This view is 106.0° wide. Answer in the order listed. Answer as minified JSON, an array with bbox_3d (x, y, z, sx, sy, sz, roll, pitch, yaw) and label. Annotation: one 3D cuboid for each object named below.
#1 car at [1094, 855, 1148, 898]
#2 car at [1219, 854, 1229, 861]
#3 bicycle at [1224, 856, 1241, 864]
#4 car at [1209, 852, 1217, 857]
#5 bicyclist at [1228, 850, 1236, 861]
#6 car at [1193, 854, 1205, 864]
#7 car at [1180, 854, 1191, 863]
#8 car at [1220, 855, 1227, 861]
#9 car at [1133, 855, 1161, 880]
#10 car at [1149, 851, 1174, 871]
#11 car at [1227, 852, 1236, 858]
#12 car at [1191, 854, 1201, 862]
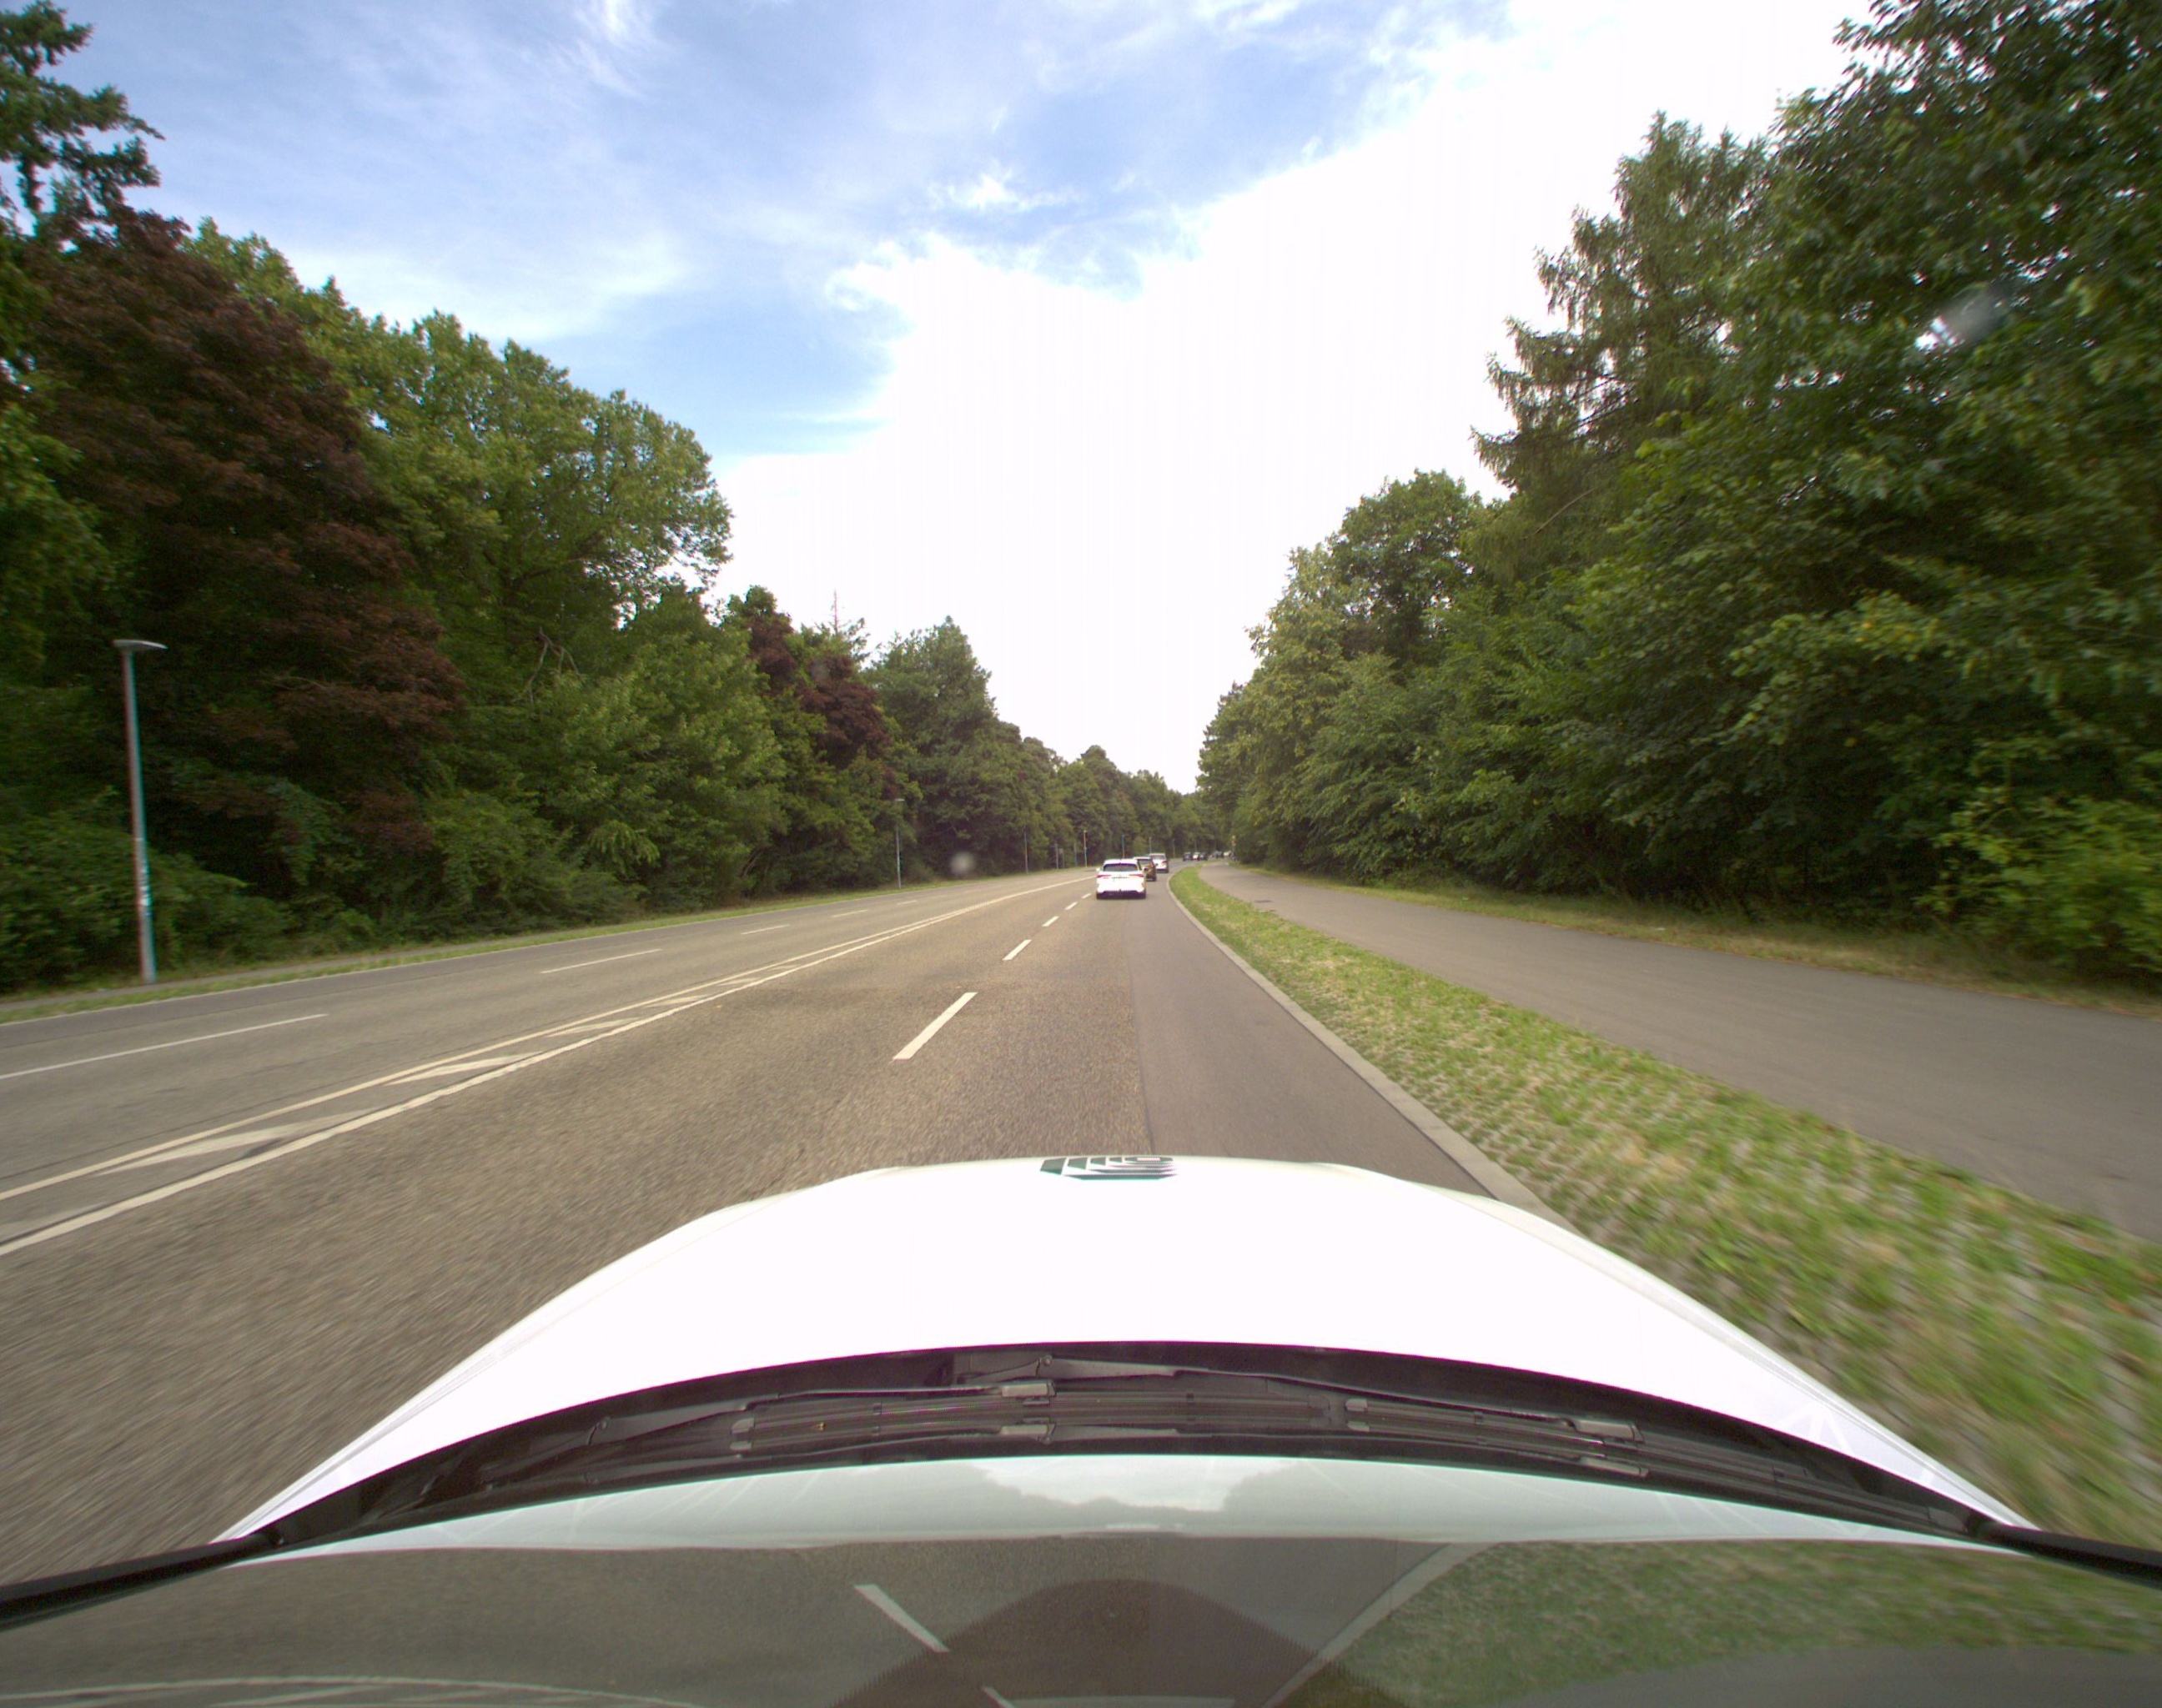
[{"bbox_3d":[1.503,0.807,30.278,1.829,1.410,4.494,-2,-1,3],"label":"car"},{"bbox_3d":[35.770,0.938,204.014,1.978,1.783,4.017,0,-1,17],"label":"car"},{"bbox_3d":[20.463,0.782,109.928,2.155,0.994,0.715,-2,-1,22],"label":"bicycle"},{"bbox_3d":[39.543,0.257,243.756,1.859,1.431,4.017,-2,0,16],"label":"car"},{"bbox_3d":[20.334,0.209,109.967,0.890,1.470,0.715,-2,-1,22],"label":"bicyclist"},{"bbox_3d":[23.140,0.985,159.424,1.980,1.783,4.014,0,-1,13],"label":"car"},{"bbox_3d":[21.044,0.880,164.023,1.981,1.783,4.012,0,-1,11],"label":"car"},{"bbox_3d":[43.077,1.181,245.455,1.875,1.816,4.014,0,-1,13],"label":"car"},{"bbox_3d":[3.970,0.832,48.703,1.627,1.420,4.005,0,-1,5],"label":"car"},{"bbox_3d":[6.982,0.613,70.433,1.982,1.607,4.009,0,-1,8],"label":"car"},{"bbox_3d":[43.118,0.325,233.267,1.979,1.706,4.015,-2,0,14],"label":"car"},{"bbox_3d":[25.625,0.897,181.089,1.980,1.783,4.013,0,-1,12],"label":"car"}]
